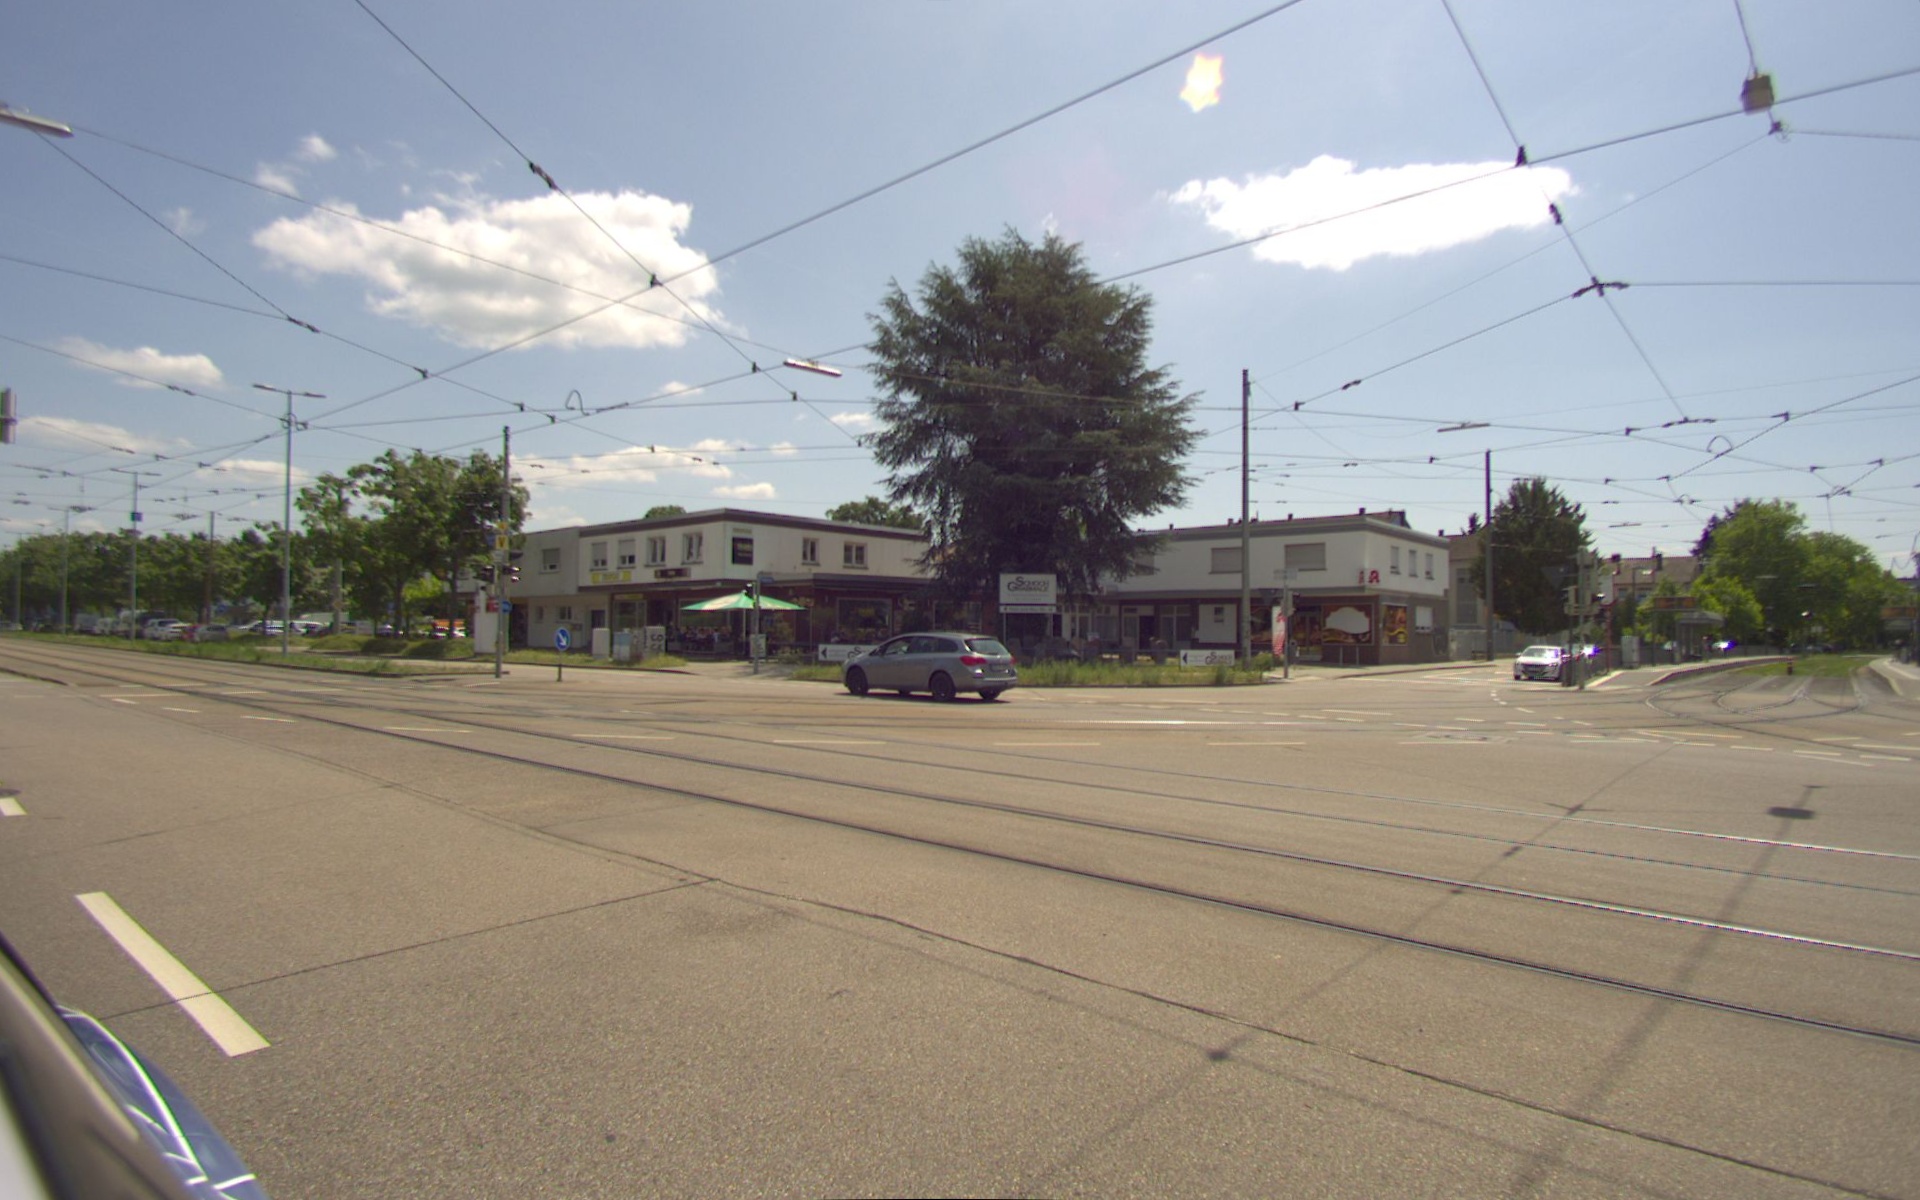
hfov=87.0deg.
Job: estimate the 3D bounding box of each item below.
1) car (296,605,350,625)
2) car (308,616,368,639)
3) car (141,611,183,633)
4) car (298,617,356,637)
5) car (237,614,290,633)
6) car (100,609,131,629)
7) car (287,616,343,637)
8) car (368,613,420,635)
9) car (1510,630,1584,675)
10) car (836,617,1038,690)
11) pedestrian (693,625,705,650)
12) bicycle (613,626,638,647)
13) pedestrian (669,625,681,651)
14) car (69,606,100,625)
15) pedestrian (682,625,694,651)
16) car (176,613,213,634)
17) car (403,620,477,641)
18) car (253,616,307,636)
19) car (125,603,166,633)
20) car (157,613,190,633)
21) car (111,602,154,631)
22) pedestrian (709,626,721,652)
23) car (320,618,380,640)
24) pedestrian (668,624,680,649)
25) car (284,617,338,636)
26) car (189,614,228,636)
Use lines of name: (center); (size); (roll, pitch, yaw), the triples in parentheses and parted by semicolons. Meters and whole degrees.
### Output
car: (-83.832, 2.049, 133.239); (2.257, 2.500, 5.626); (-1, -2, 39)
car: (-53.569, 2.393, 87.202); (1.803, 1.749, 3.944); (0, -4, 42)
car: (-69.397, 1.891, 87.986); (4.887, 1.851, 2.127); (0, 0, 42)
car: (-55.624, 2.369, 88.928); (1.803, 1.749, 3.944); (-1, -3, 42)
car: (-71.639, 2.403, 104.126); (1.803, 1.749, 4.144); (0, -4, 42)
car: (-86.202, 1.872, 103.310); (4.648, 1.953, 1.771); (0, 0, 42)
car: (-59.477, 2.457, 93.400); (1.803, 1.749, 3.944); (0, -4, 42)
car: (-62.752, 2.670, 112.320); (1.849, 2.241, 4.594); (0, -3, 39)
car: (24.701, 2.230, 42.504); (1.900, 1.738, 3.799); (0, -4, 43)
car: (-0.589, 1.149, 22.857); (4.399, 1.482, 1.973); (-1, -2, 41)
pedestrian: (-13.079, 1.891, 50.752); (0.400, 1.255, 0.382); (-1, -3, 42)
bicycle: (-17.166, 1.867, 51.880); (1.801, 1.049, 0.393); (-1, -3, 44)
pedestrian: (-14.285, 1.894, 50.720); (0.528, 1.278, 0.340); (-1, -3, 44)
car: (-100.252, 1.723, 115.906); (4.486, 2.117, 2.045); (0, 0, 40)
pedestrian: (-13.427, 1.883, 49.923); (0.501, 1.278, 0.315); (-1, -3, 43)
car: (-60.848, 1.840, 80.410); (3.645, 1.551, 1.484); (0, 0, 39)
car: (-37.974, 2.251, 73.994); (1.907, 1.445, 4.423); (-1, -3, 44)
car: (-65.863, 2.487, 98.095); (1.803, 1.749, 3.944); (0, -4, 42)
car: (-73.890, 1.617, 91.825); (5.032, 2.631, 2.127); (0, 0, 42)
car: (-64.593, 1.858, 83.092); (4.359, 1.551, 1.483); (0, 0, 43)
car: (-79.721, 1.561, 97.497); (6.701, 2.631, 2.128); (0, 0, 41)
pedestrian: (-12.005, 1.891, 49.547); (0.453, 1.278, 0.337); (-1, -3, 44)
car: (-51.674, 2.471, 85.812); (1.879, 1.749, 3.944); (-1, -3, 42)
pedestrian: (-14.708, 1.883, 52.042); (0.580, 1.278, 0.348); (-1, -3, 43)
car: (-61.069, 2.477, 95.280); (1.902, 1.749, 3.944); (-1, -3, 42)
car: (-57.022, 1.898, 76.769); (4.551, 1.551, 1.559); (0, 0, 43)
